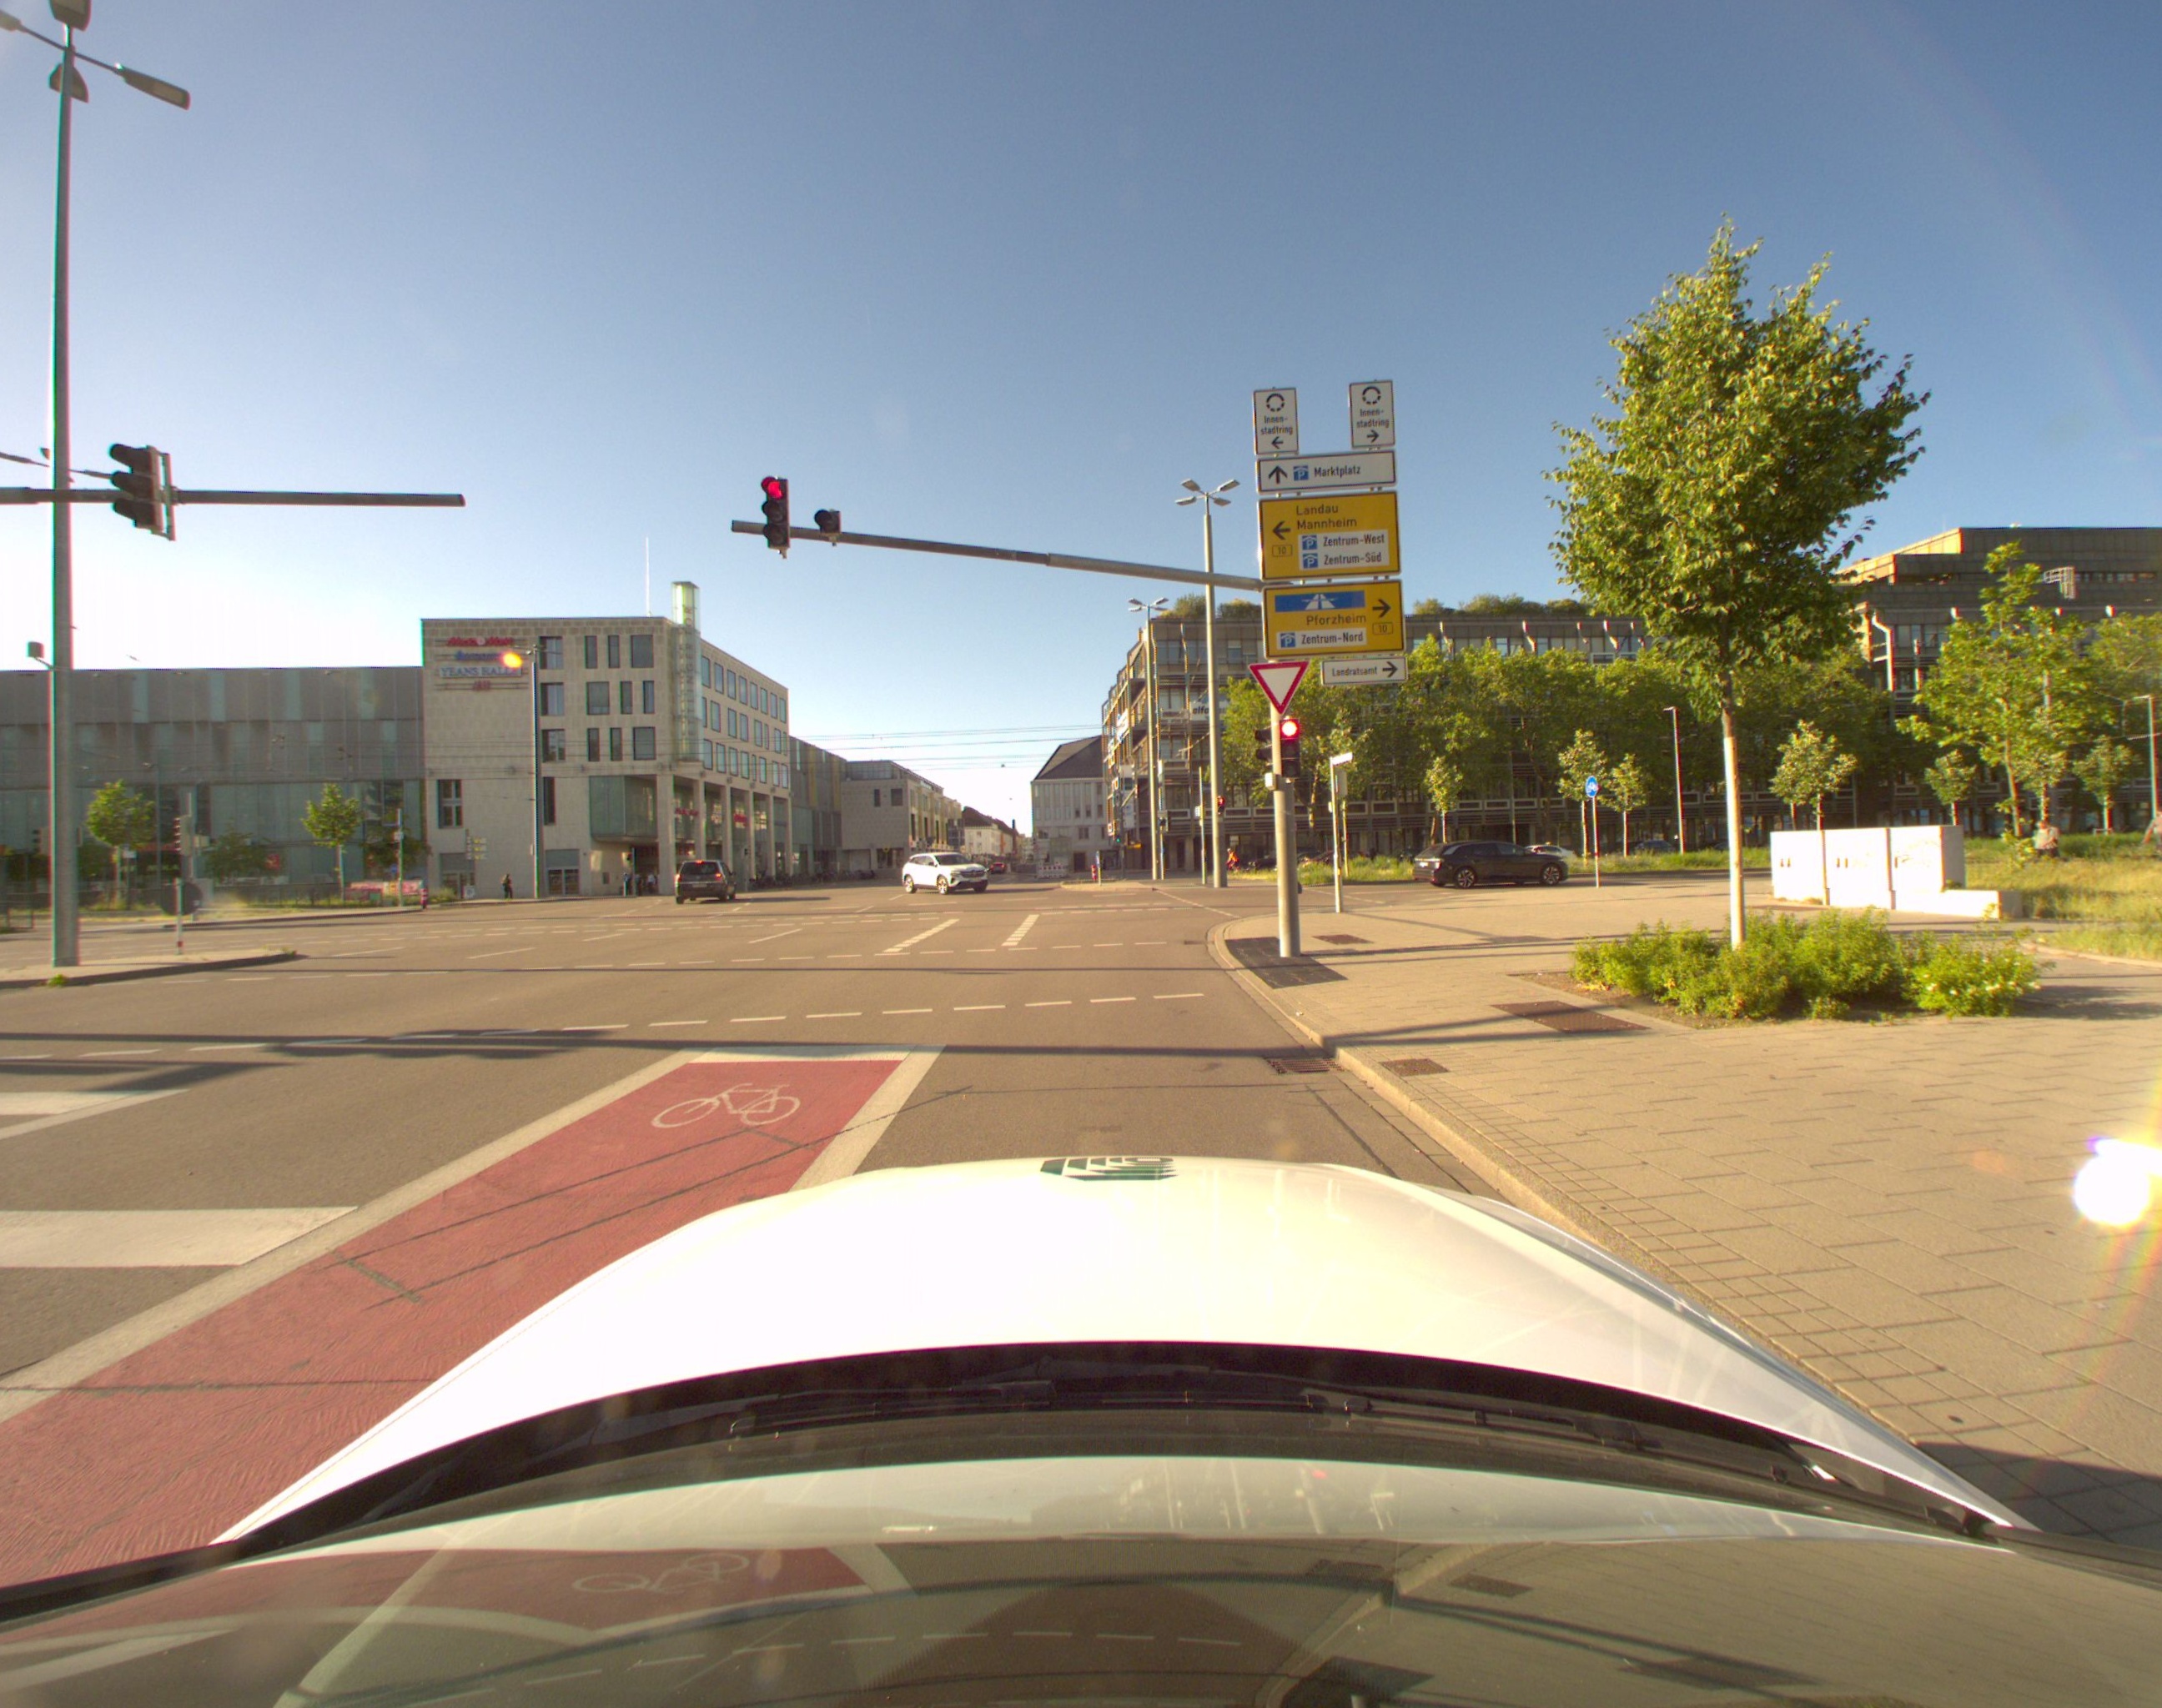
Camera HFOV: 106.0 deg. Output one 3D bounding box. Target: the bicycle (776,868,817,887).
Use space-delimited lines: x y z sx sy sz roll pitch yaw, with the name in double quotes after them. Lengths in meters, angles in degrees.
-26.858 2.200 76.862 3.491 1.696 0.984 -2 0 -10 "bicycle"

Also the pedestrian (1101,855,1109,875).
2.057 0.924 69.578 0.661 1.658 0.755 -2 0 -1 "pedestrian"

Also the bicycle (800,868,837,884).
-27.550 2.292 85.585 3.491 1.527 0.984 -2 0 -10 "bicycle"

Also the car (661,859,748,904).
-14.558 1.006 31.772 1.994 1.607 4.466 -1 0 -10 "car"

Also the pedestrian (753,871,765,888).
-30.335 2.399 76.740 0.783 1.642 0.694 -2 0 -5 "pedestrian"

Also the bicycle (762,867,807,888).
-26.145 2.070 71.958 3.488 1.696 1.114 -2 0 -7 "bicycle"

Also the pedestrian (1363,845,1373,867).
21.949 0.150 62.233 0.538 1.590 0.586 -2 0 -1 "pedestrian"

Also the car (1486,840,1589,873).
28.893 0.139 51.660 5.424 2.014 2.097 0 -1 -1 "car"

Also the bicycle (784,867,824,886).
-27.250 2.235 80.167 3.491 1.696 0.984 -2 0 -10 "bicycle"

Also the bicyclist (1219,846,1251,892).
8.886 0.852 47.076 1.566 2.580 0.929 -2 0 -7 "bicyclist"

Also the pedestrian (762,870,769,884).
-33.487 2.427 86.538 0.640 1.435 0.472 -2 0 -21 "pedestrian"

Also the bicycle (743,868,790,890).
-26.733 2.098 69.297 3.488 1.696 1.114 -2 0 -7 "bicycle"

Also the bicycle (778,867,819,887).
-27.046 2.211 78.070 3.491 1.696 0.984 -2 0 -10 "bicycle"

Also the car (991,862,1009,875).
-10.794 1.881 108.866 2.195 1.607 4.320 -2 0 -4 "car"

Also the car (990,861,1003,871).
-15.113 2.143 145.751 1.988 1.660 4.402 -3 0 -2 "car"

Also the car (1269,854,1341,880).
13.852 0.779 50.481 3.976 1.508 1.867 -1 0 -2 "car"

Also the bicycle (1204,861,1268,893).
8.927 1.313 47.072 3.488 1.659 0.929 -2 0 -7 "bicycle"

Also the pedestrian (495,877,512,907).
-32.883 2.146 46.396 0.523 1.694 0.548 -2 0 2 "pedestrian"

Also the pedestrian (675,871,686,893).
-30.451 2.153 61.942 0.541 1.642 0.548 -2 0 -12 "pedestrian"

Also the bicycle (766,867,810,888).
-26.321 2.116 73.179 3.488 1.696 1.114 -2 0 -7 "bicycle"

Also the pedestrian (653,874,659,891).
-36.777 2.450 70.454 0.389 1.426 0.497 -2 0 -37 "pedestrian"

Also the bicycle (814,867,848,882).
-28.175 2.292 91.752 3.491 1.527 0.984 -2 0 -10 "bicycle"

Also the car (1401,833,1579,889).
13.363 0.186 26.786 4.930 1.601 1.997 -2 2 -6 "car"

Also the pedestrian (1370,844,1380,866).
22.153 0.078 61.324 0.538 1.669 0.537 -2 0 -1 "pedestrian"

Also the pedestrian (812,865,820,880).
-30.117 2.130 92.489 0.652 1.642 0.693 -2 0 -7 "pedestrian"

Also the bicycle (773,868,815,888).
-26.682 2.181 75.765 3.491 1.696 0.984 -2 0 -10 "bicycle"

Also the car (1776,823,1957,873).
27.118 -0.204 28.198 4.681 1.528 1.996 -2 0 -6 "car"

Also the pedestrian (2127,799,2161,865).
28.798 -0.594 21.666 0.694 1.728 0.939 -2 0 -12 "pedestrian"

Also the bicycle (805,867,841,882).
-27.656 2.212 87.453 3.491 1.527 0.984 -2 0 -10 "bicycle"

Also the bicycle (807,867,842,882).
-27.925 2.212 88.582 3.491 1.527 0.984 -2 0 -10 "bicycle"

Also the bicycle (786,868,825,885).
-27.412 2.227 81.164 3.491 1.527 0.984 -2 0 -10 "bicycle"

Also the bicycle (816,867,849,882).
-28.292 2.329 92.783 3.491 1.527 0.984 -2 0 -10 "bicycle"

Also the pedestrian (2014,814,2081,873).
27.659 -0.286 23.318 0.801 1.630 0.939 -2 0 -12 "pedestrian"

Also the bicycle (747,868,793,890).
-26.912 2.139 70.512 3.488 1.696 1.114 -2 0 -7 "bicycle"

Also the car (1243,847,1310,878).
12.839 0.557 53.629 3.975 2.014 1.999 0 -1 -1 "car"

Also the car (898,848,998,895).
-5.347 0.644 32.285 2.010 1.660 4.356 -3 1 -38 "car"

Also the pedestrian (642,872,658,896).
-33.624 2.324 63.569 0.754 1.798 0.737 -2 0 0 "pedestrian"

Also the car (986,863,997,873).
-17.687 2.798 160.379 1.752 1.783 3.997 -2 0 -2 "car"

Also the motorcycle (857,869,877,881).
-25.971 2.535 98.870 2.269 1.318 0.719 -2 0 -4 "motorcycle"

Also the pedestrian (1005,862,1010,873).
-9.773 1.755 108.936 0.608 1.411 0.569 -2 0 -5 "pedestrian"

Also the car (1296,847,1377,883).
14.453 0.616 46.214 3.975 2.014 1.999 0 -1 -1 "car"
